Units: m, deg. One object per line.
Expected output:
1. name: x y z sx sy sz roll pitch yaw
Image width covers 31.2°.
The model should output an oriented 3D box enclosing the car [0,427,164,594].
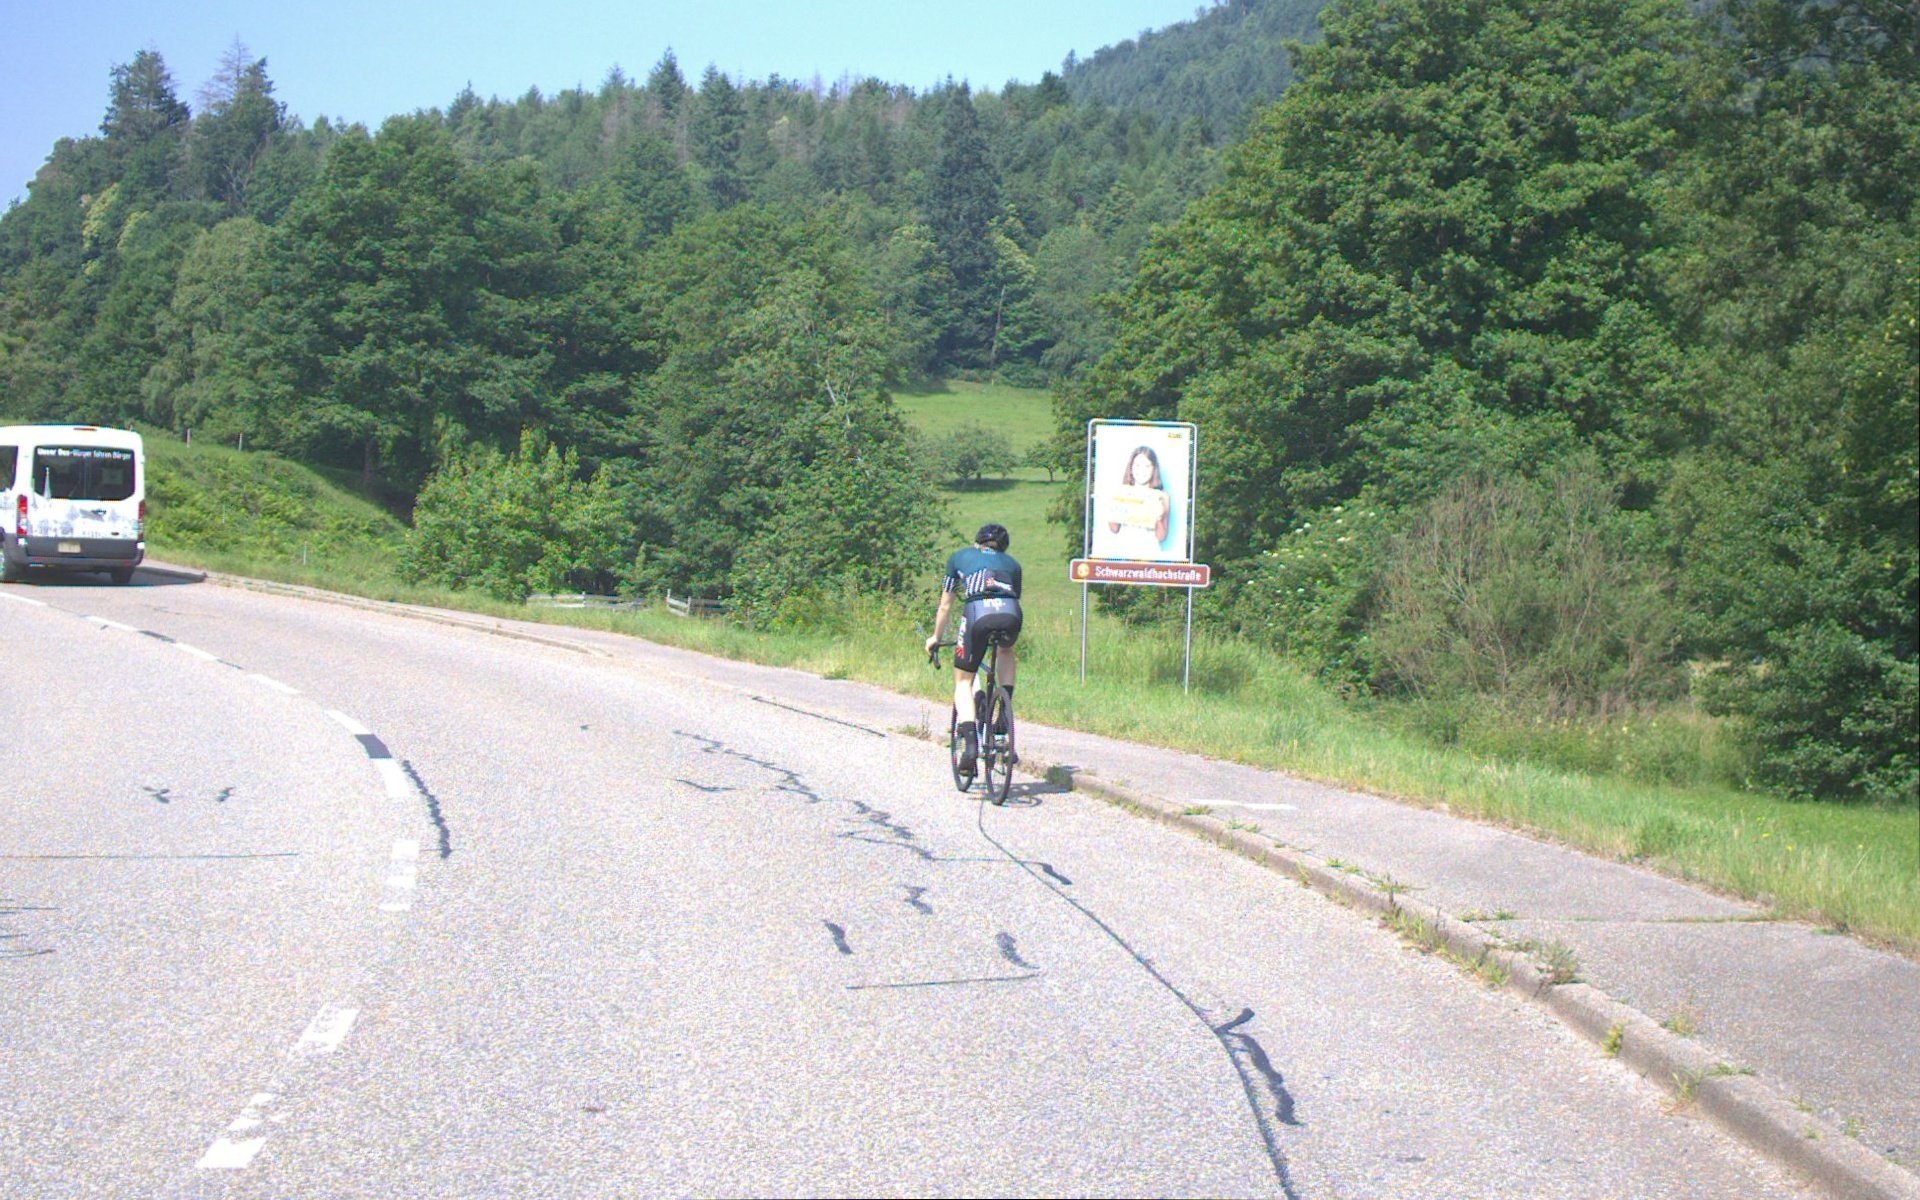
1. car: -14.348 -1.472 54.364 2.222 2.516 4.986 -1 3 -28

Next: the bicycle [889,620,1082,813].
1. bicycle: 0.132 0.673 20.716 0.579 1.031 1.991 -1 2 -17

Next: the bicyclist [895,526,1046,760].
1. bicyclist: 0.053 0.235 20.526 0.579 1.338 1.145 -1 2 -17
